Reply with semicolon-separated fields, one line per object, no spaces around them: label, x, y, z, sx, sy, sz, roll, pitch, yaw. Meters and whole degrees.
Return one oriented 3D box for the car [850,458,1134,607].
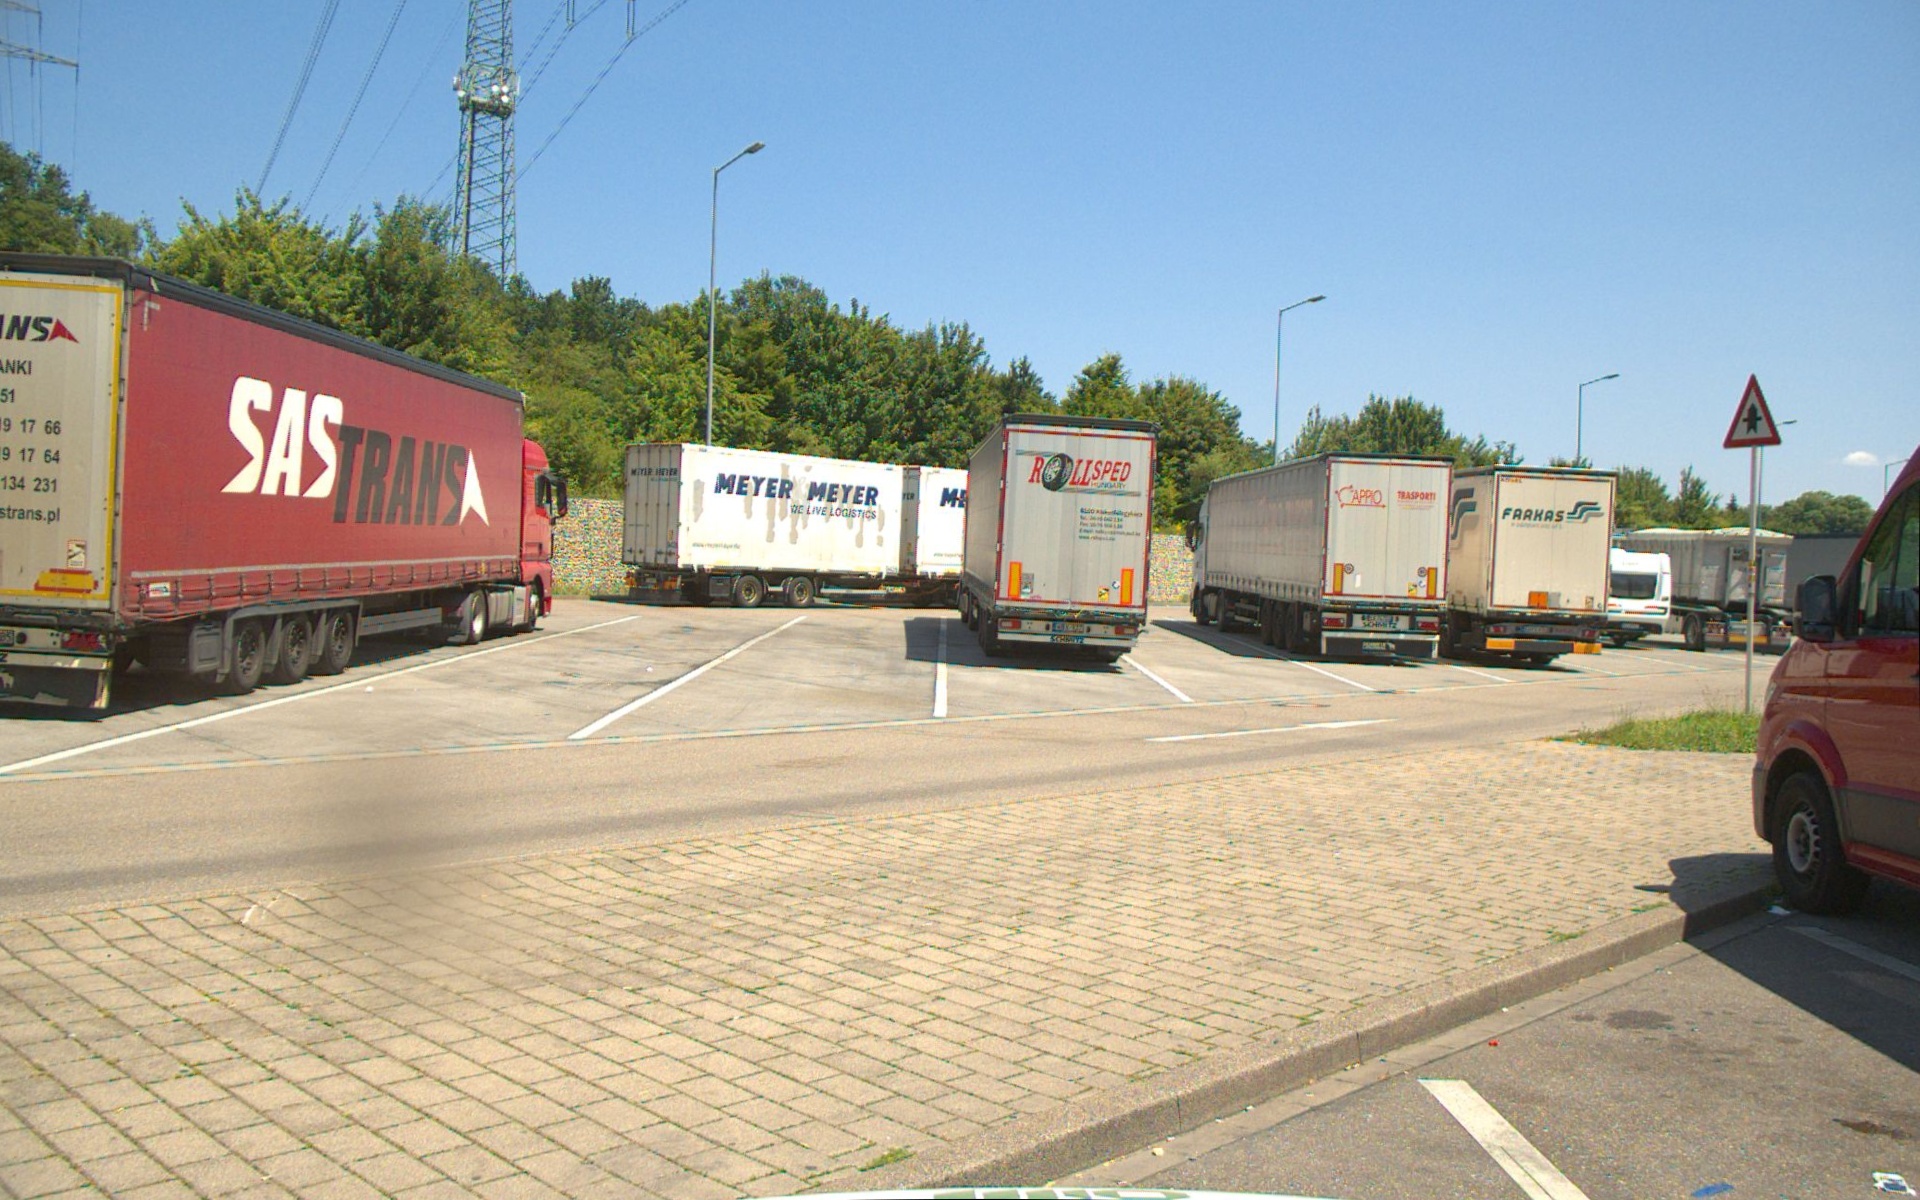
car;1.250;-2.017;52.230;2.644;4.261;10.147;5;3;44

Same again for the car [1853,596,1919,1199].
car;2.553;0.795;1.125;1.584;1.509;3.762;1;1;-6

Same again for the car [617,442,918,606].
car;-5.101;-1.982;45.481;2.643;4.114;8.413;5;3;43

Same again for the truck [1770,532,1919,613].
truck;34.710;-1.071;63.652;2.082;2.869;9.777;1;1;-1

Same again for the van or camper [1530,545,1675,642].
van or camper;18.277;-0.224;47.362;2.061;2.606;5.372;1;1;0

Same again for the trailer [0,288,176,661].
trailer;-12.535;-1.404;17.173;2.756;4.341;12.940;2;2;-1

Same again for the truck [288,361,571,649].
truck;-8.687;-1.528;27.890;2.641;4.184;6.239;2;2;0

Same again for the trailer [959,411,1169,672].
trailer;1.664;-1.239;33.682;2.809;4.107;14.238;2;2;-2

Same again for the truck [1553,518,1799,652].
truck;21.757;-0.651;51.258;2.437;3.630;11.423;2;2;-1

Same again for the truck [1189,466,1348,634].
truck;8.176;-1.385;44.749;2.808;4.107;6.956;2;2;-1

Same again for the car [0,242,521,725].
car;-8.665;-1.279;20.972;2.641;4.184;12.935;2;2;0

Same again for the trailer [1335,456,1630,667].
trailer;11.832;-1.024;39.236;2.808;4.107;12.438;2;2;-1

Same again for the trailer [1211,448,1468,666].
trailer;8.256;-1.090;38.118;2.808;4.107;12.438;2;2;-1

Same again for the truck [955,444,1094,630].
truck;1.433;-1.566;40.763;2.809;4.107;7.026;2;2;-2

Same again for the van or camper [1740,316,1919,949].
van or camper;5.002;0.174;5.572;1.954;2.700;6.482;1;1;3
